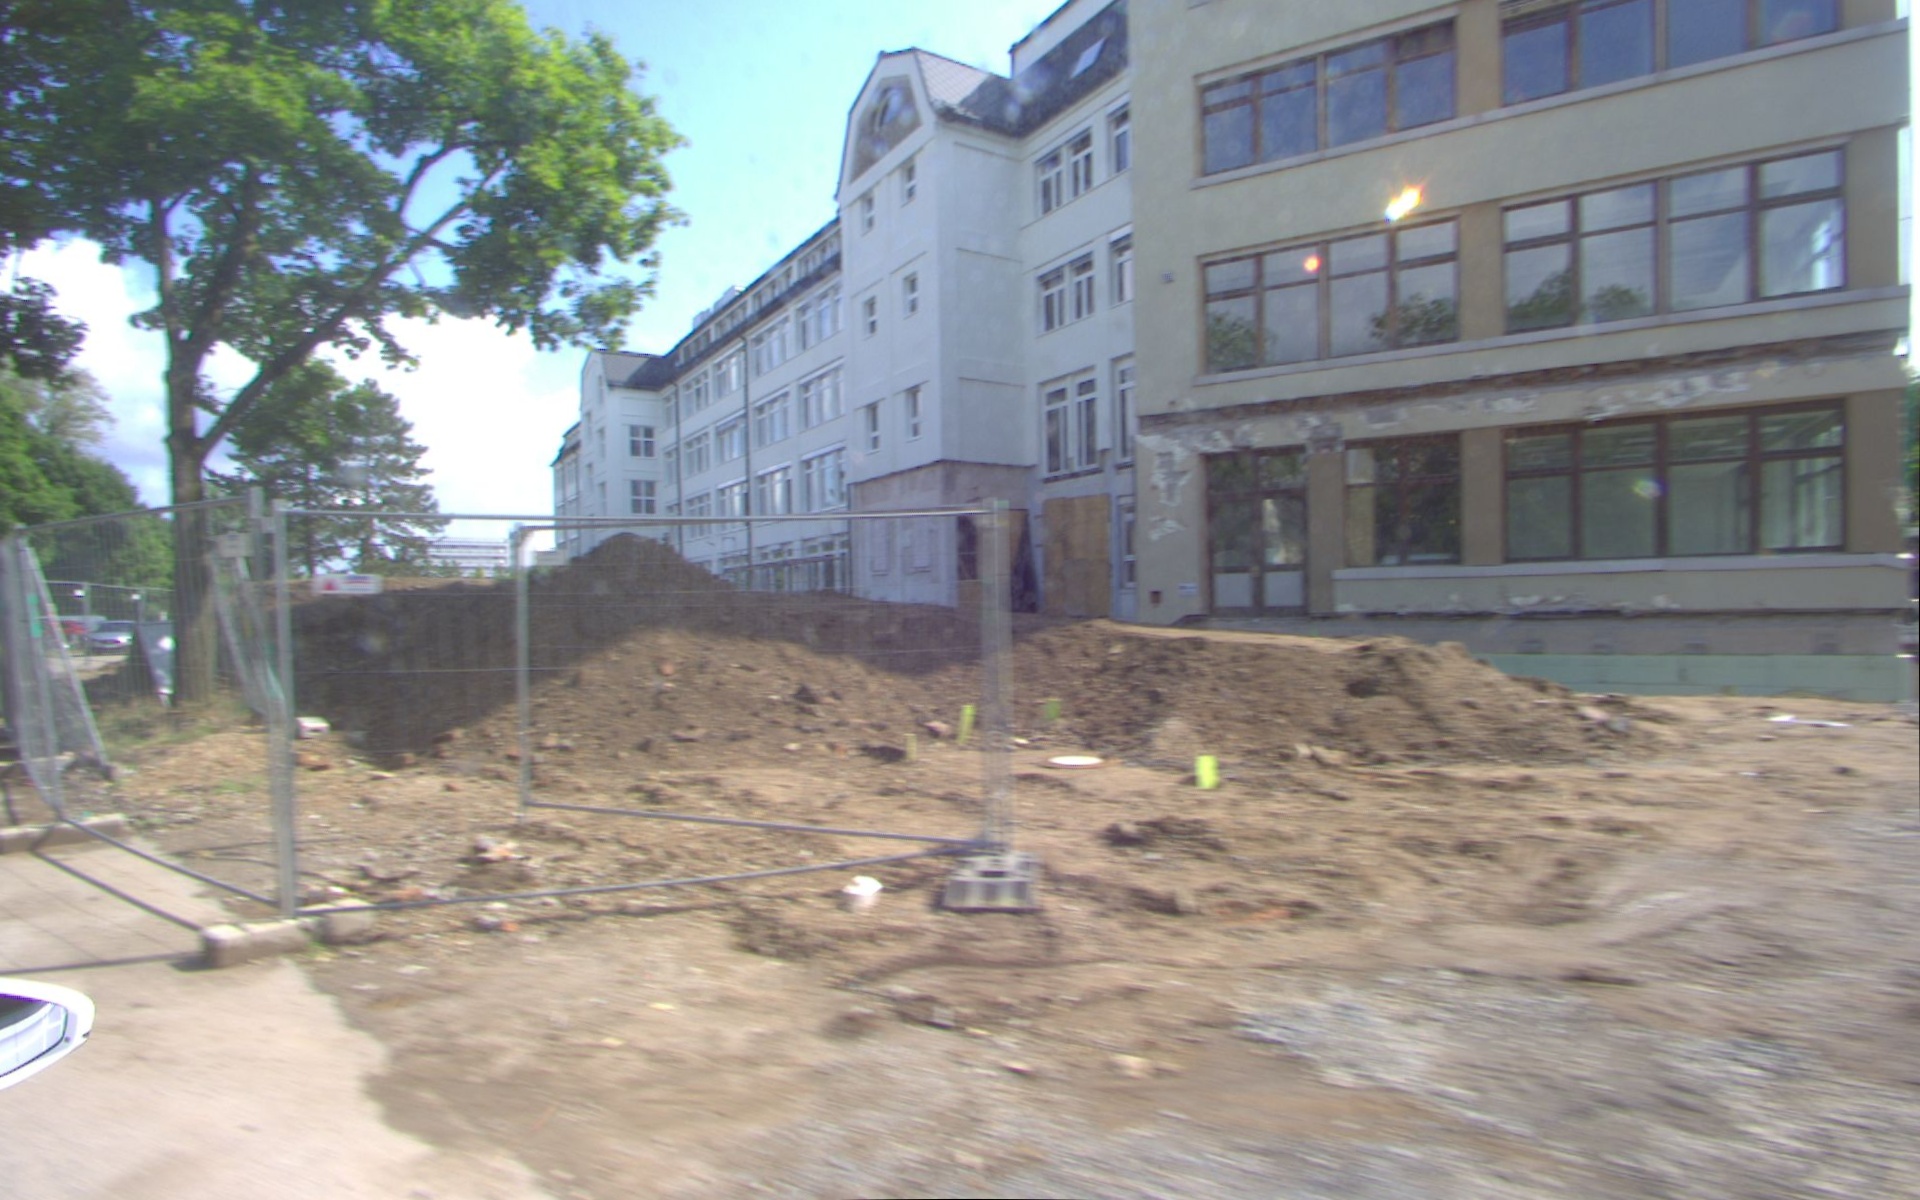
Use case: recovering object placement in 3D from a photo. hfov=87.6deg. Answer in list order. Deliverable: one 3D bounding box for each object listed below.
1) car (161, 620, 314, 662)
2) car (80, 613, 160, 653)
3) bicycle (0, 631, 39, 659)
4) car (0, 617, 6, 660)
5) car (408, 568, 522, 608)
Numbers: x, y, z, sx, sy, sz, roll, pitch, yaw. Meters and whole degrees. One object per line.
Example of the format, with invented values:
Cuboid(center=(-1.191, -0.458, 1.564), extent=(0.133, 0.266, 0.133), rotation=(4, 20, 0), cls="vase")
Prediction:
Cuboid(center=(-28.945, 1.712, 40.348), extent=(4.805, 1.444, 1.836), rotation=(4, -6, -32), cls="car")
Cuboid(center=(-35.512, 1.449, 42.432), extent=(1.819, 1.444, 3.984), rotation=(3, -6, -29), cls="car")
Cuboid(center=(-36.526, 1.662, 37.484), extent=(2.850, 1.003, 1.012), rotation=(4, -6, -34), cls="bicycle")
Cuboid(center=(-35.088, 1.206, 33.764), extent=(3.953, 1.444, 1.833), rotation=(4, -6, -36), cls="car")
Cuboid(center=(-24.073, -0.543, 48.747), extent=(4.805, 1.444, 1.836), rotation=(4, -6, -32), cls="car")
